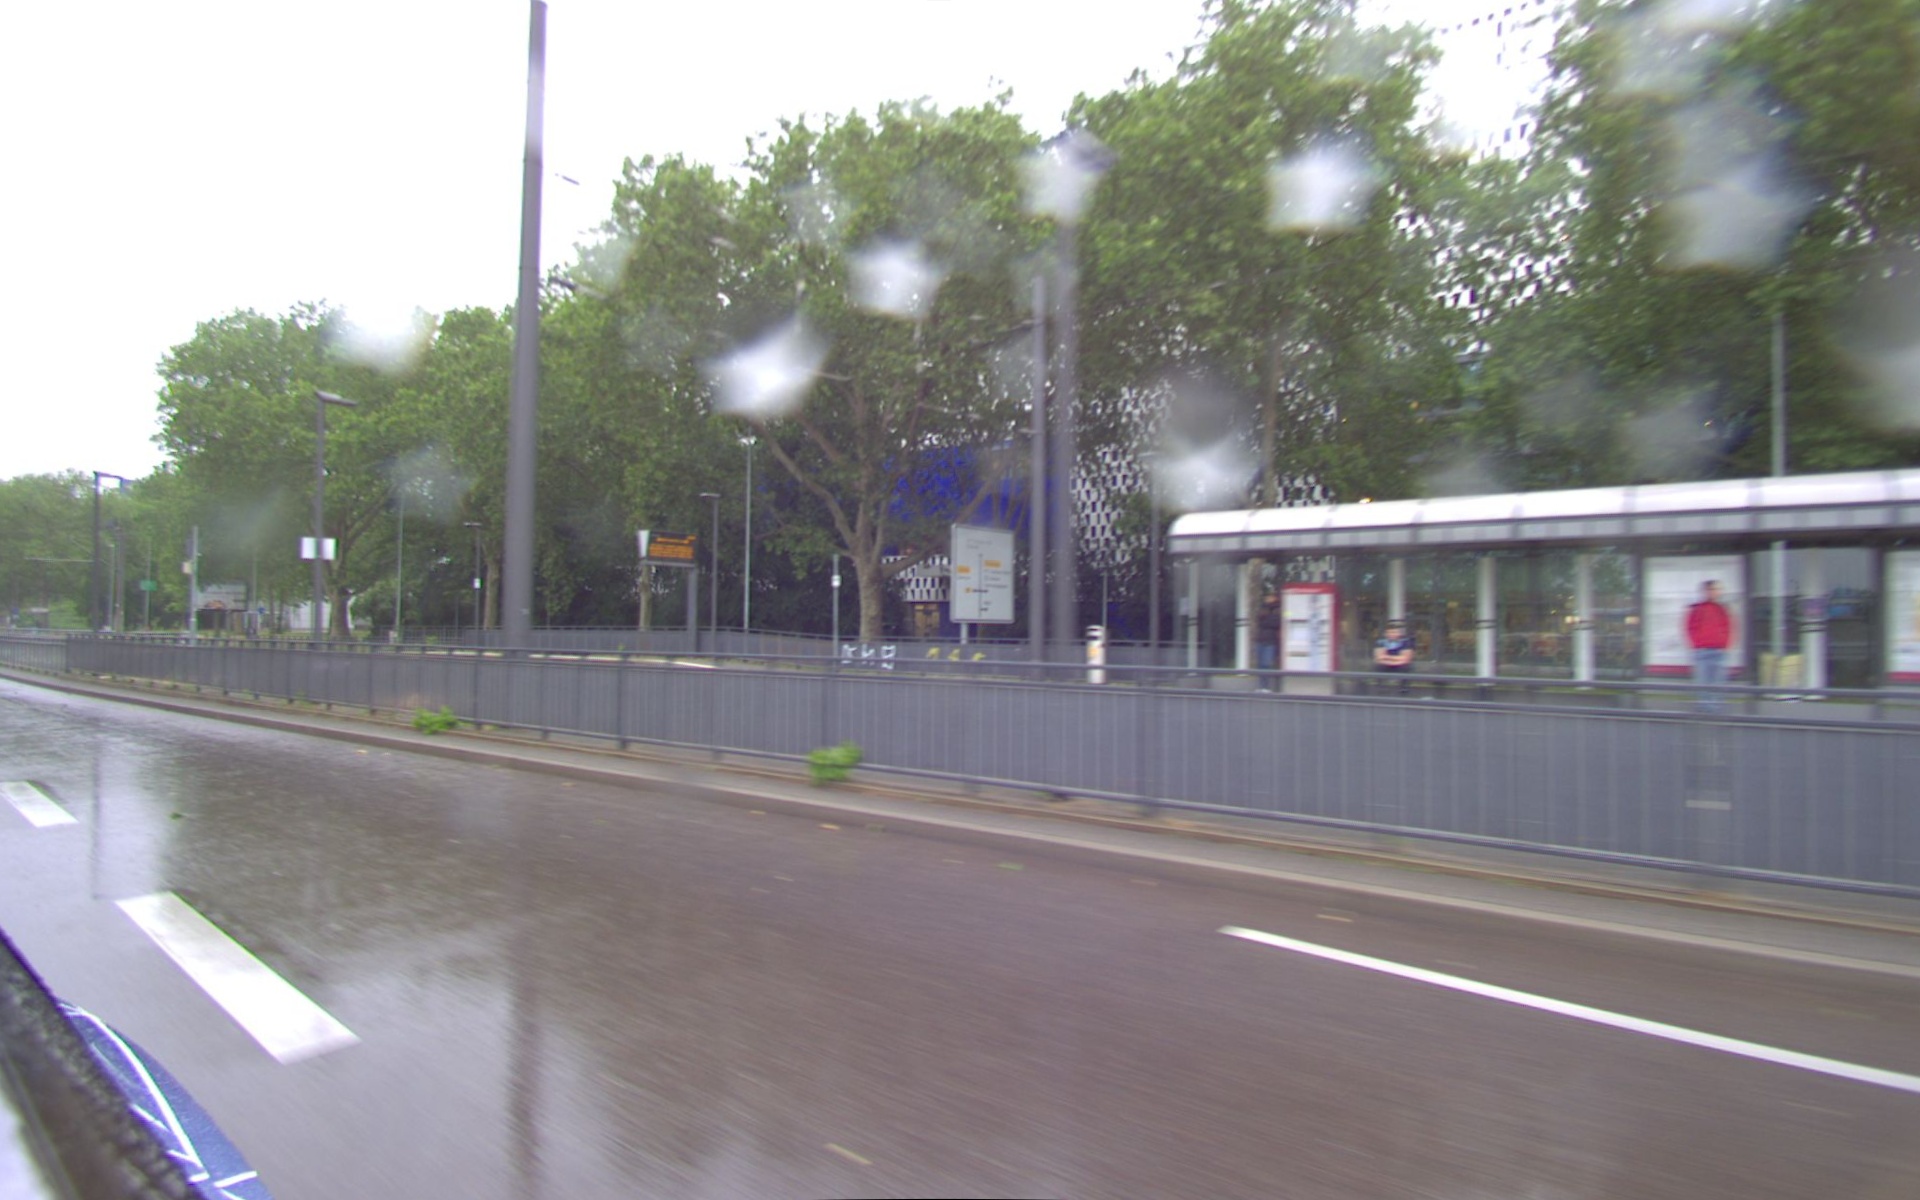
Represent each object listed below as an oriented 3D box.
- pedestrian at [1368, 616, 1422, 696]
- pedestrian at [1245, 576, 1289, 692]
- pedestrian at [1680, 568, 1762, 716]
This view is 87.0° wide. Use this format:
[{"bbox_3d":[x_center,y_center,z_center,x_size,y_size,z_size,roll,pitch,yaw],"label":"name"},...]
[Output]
[{"bbox_3d":[7.141,0.903,16.617,0.664,1.277,0.487,-1,0,44],"label":"pedestrian"},{"bbox_3d":[5.498,0.597,18.140,0.582,2.029,0.488,-1,0,40],"label":"pedestrian"},{"bbox_3d":[10.376,0.558,13.801,0.814,1.947,0.614,-1,0,43],"label":"pedestrian"}]
